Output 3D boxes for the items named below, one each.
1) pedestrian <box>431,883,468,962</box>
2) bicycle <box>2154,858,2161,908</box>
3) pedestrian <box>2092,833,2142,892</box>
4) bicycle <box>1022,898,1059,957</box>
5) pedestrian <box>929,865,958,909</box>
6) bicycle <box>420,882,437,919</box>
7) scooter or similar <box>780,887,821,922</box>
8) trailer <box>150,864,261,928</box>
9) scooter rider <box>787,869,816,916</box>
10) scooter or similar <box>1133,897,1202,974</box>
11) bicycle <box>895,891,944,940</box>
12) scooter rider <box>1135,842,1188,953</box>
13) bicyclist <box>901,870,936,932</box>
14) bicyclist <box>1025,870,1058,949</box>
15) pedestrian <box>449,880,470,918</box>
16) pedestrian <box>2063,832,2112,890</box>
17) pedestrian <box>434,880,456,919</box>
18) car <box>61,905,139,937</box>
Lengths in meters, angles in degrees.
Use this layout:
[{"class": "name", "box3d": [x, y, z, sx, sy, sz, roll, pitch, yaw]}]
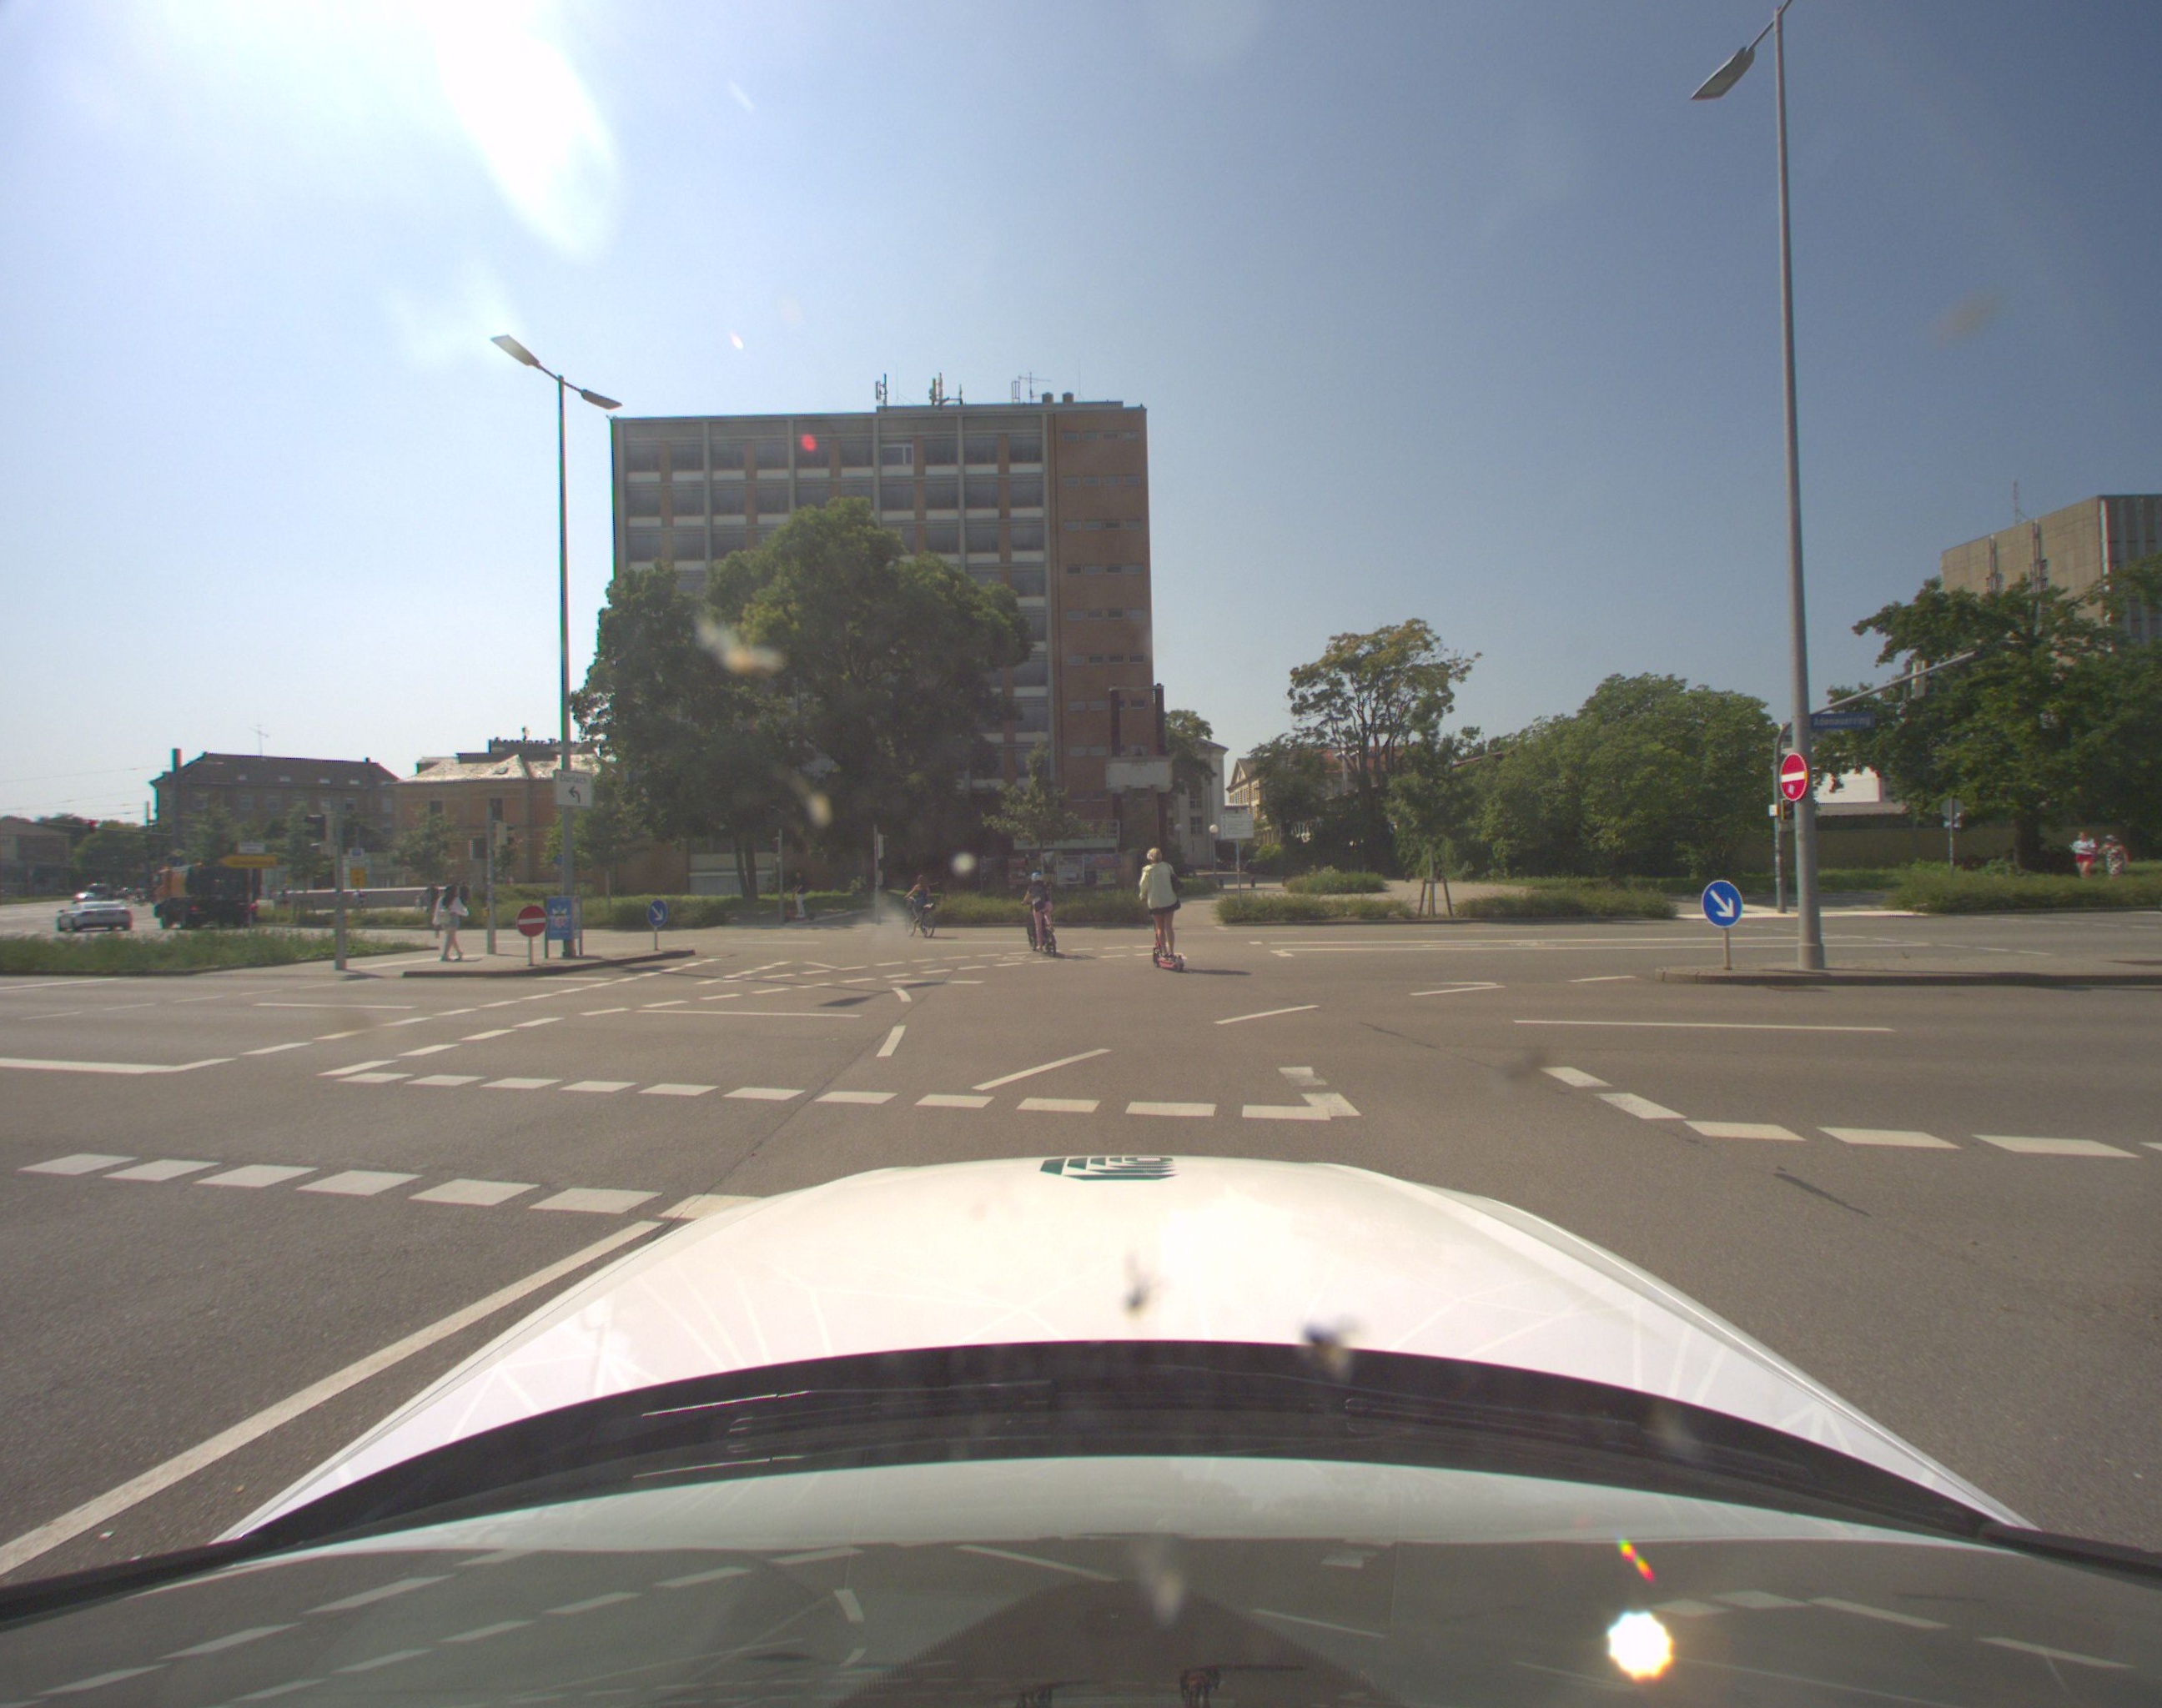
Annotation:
[{"class": "pedestrian", "box3d": [-14.136, 1.505, 18.248, 0.610, 1.695, 0.692, -1, -1, -36]}, {"class": "bicycle", "box3d": [27.268, 0.679, 19.556, 1.774, 1.212, 0.788, -2, -1, 6]}, {"class": "pedestrian", "box3d": [31.382, 0.255, 24.678, 0.582, 1.771, 0.695, -2, -1, 6]}, {"class": "bicycle", "box3d": [-0.833, 1.431, 16.360, 0.556, 1.060, 1.998, 0, -2, -8]}, {"class": "pedestrian", "box3d": [-5.617, 1.349, 33.306, 0.869, 1.704, 0.711, -2, 1, 18]}, {"class": "bicycle", "box3d": [-33.438, 2.387, 41.732, 1.345, 1.860, 0.459, -2, -1, 42]}, {"class": "scooter or similar", "box3d": [-10.716, 1.915, 31.123, 0.578, 1.234, 1.376, -2, -1, 42]}, {"class": "trailer", "box3d": [-44.319, 2.108, 41.189, 6.243, 3.008, 2.486, -2, -3, 31]}, {"class": "scooter rider", "box3d": [-10.680, 1.466, 31.102, 0.680, 1.739, 0.810, -2, -2, 42]}, {"class": "scooter or similar", "box3d": [1.313, 1.235, 12.770, 0.556, 1.060, 1.997, -2, -2, -9]}, {"class": "bicycle", "box3d": [-4.474, 1.667, 22.468, 0.697, 1.155, 2.351, -3, 1, -26]}, {"class": "scooter rider", "box3d": [1.269, 0.680, 12.899, 0.670, 1.700, 0.537, -2, -1, -9]}, {"class": "bicyclist", "box3d": [-4.490, 1.274, 22.460, 0.694, 1.598, 0.836, -3, 1, -26]}, {"class": "bicyclist", "box3d": [-0.783, 1.065, 15.962, 0.548, 1.496, 0.801, -1, -2, -8]}, {"class": "pedestrian", "box3d": [-33.279, 2.400, 43.595, 0.744, 1.973, 0.785, -2, -1, 44]}, {"class": "pedestrian", "box3d": [31.392, 0.228, 25.410, 0.582, 1.771, 0.695, -2, -1, 6]}, {"class": "pedestrian", "box3d": [-33.203, 2.361, 42.525, 0.744, 1.973, 0.785, -2, -1, 44]}, {"class": "car", "box3d": [-48.958, 3.306, 40.643, 4.368, 1.455, 1.774, -2, -2, 30]}]
